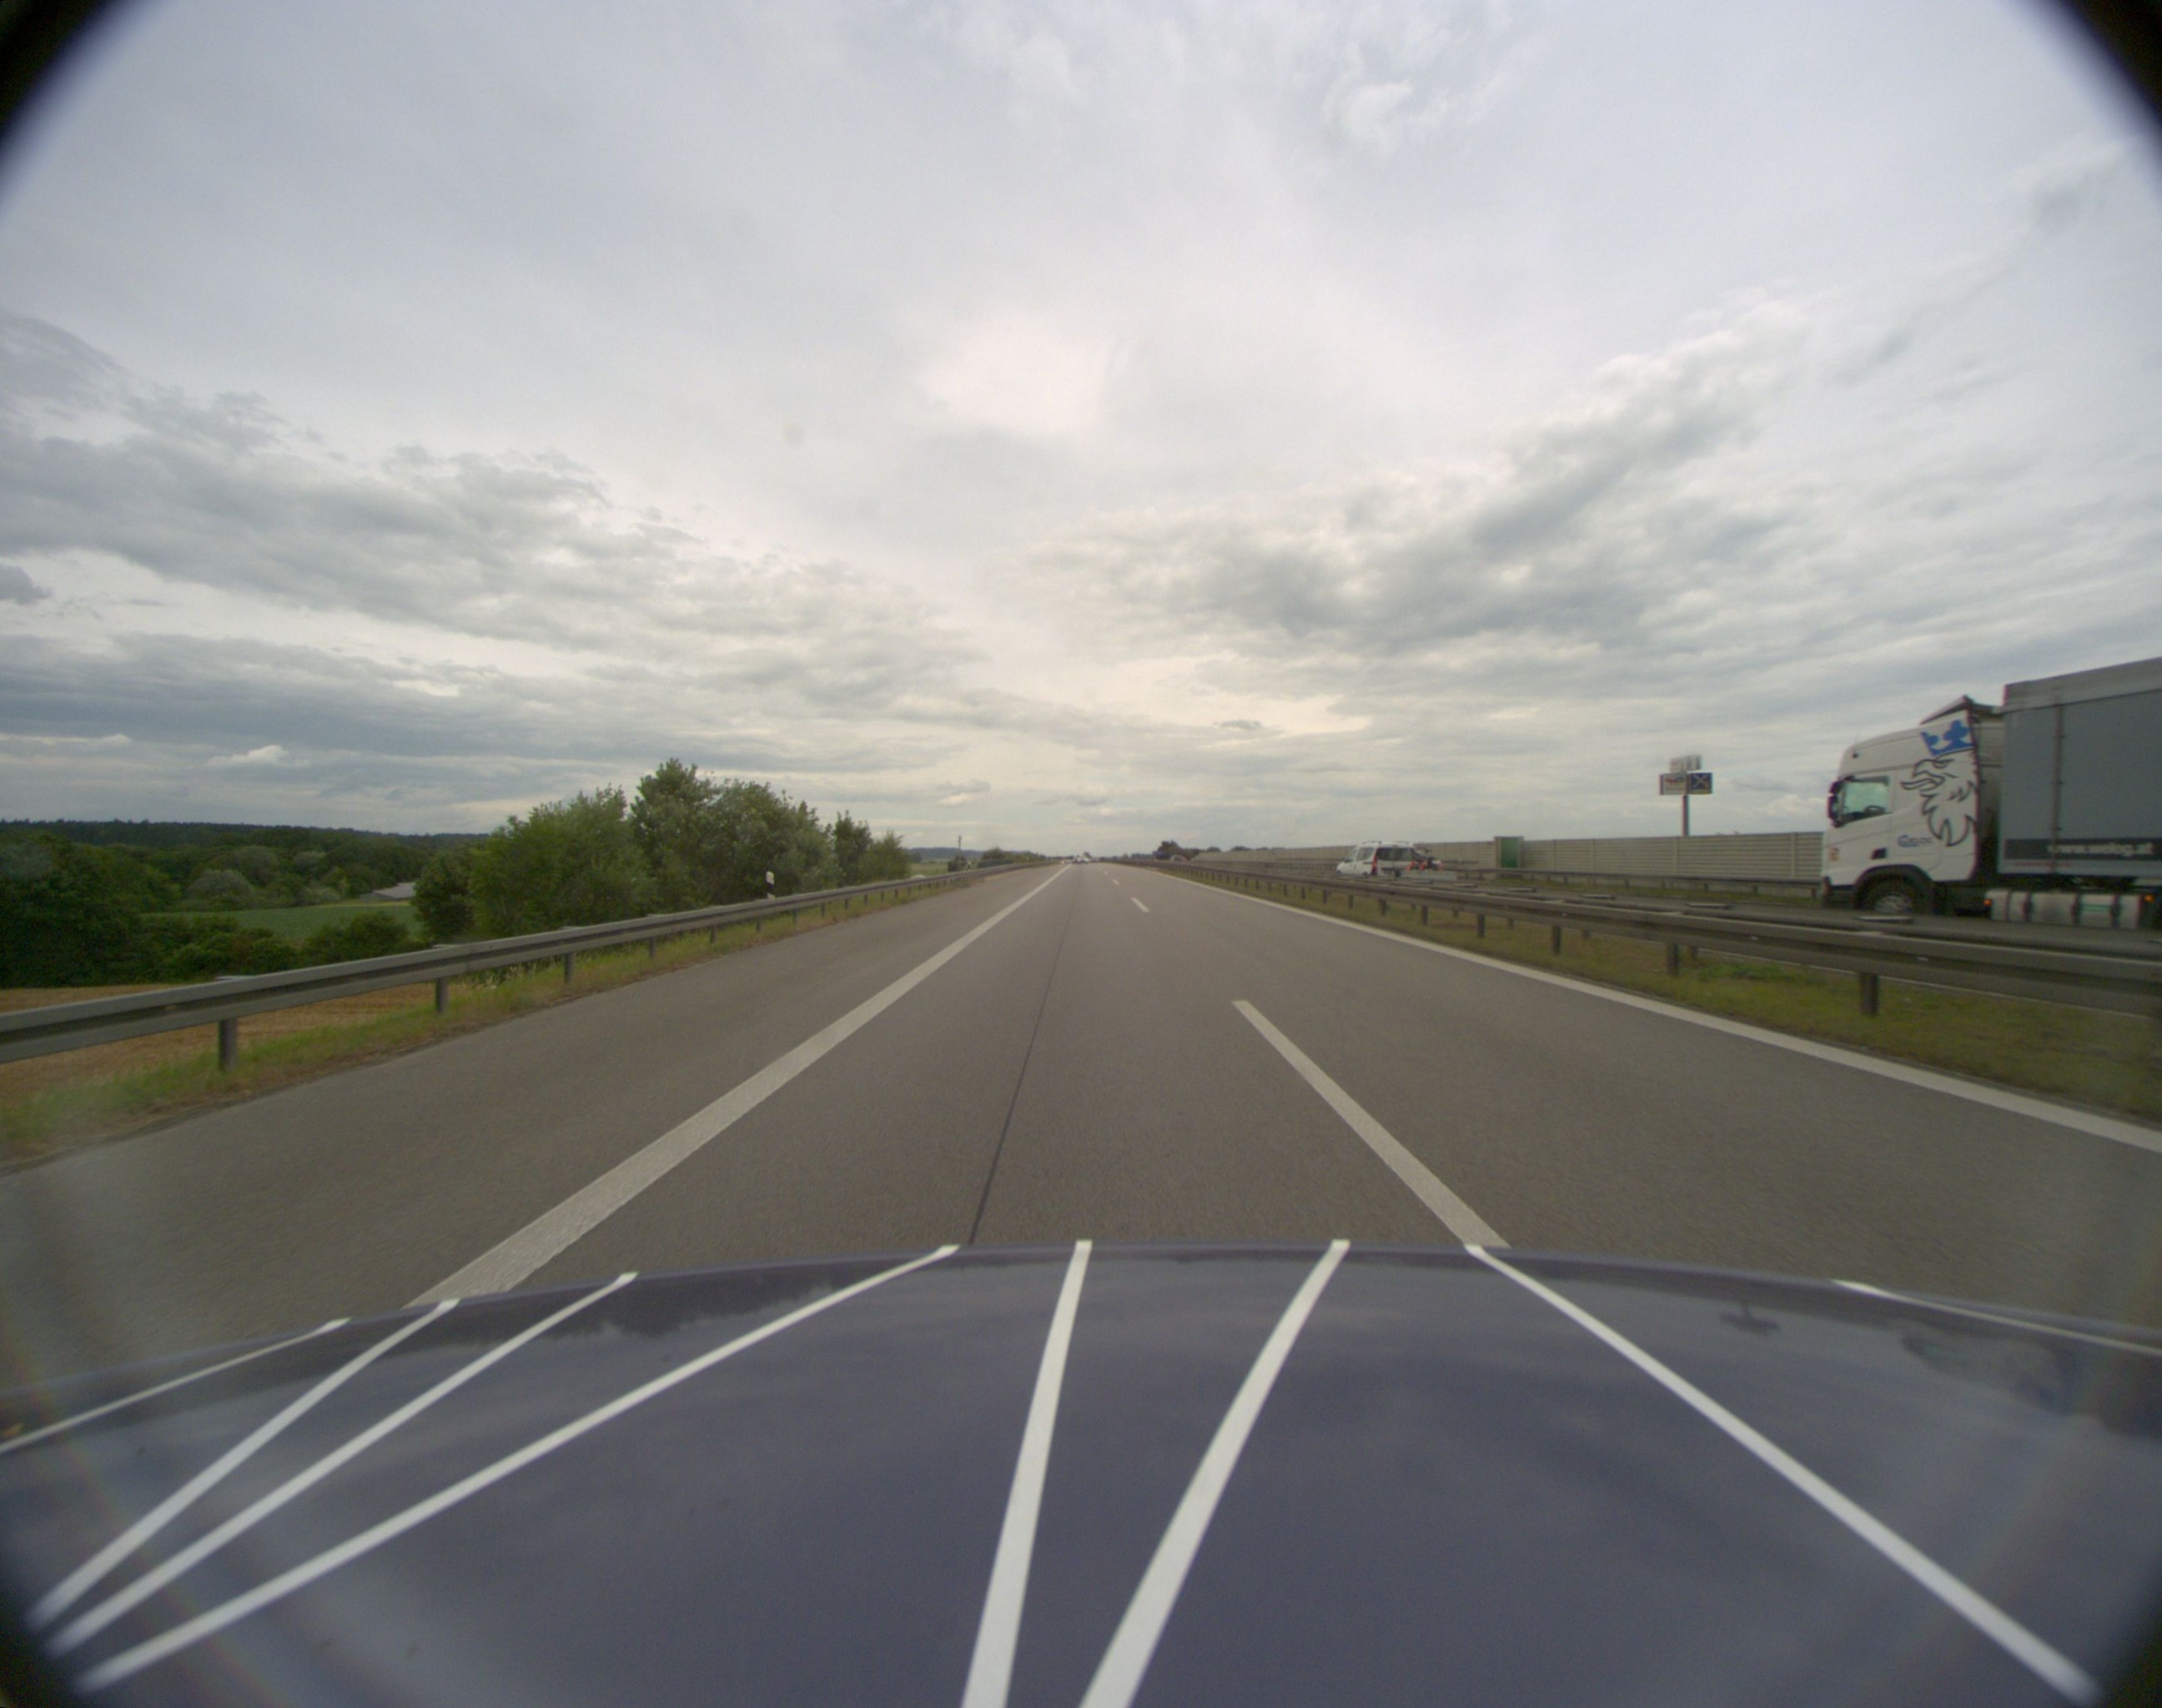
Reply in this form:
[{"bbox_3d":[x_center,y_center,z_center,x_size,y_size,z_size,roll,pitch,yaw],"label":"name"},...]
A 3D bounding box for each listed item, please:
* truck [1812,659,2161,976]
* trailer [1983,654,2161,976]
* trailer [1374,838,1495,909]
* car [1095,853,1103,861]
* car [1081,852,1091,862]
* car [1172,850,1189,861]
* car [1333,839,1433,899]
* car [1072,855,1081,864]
[{"bbox_3d":[15.182,-0.450,10.474,3.117,3.991,7.323,1,1,1],"label":"truck"},{"bbox_3d":[15.155,-0.437,4.413,3.187,4.052,14.022,1,0,1],"label":"trailer"},{"bbox_3d":[10.739,0.522,23.395,1.819,1.836,3.862,-6,1,1],"label":"trailer"},{"bbox_3d":[4.177,0.730,175.105,1.850,1.664,4.200,0,-1,0],"label":"car"},{"bbox_3d":[0.934,0.540,139.998,1.850,1.664,4.200,0,-1,0],"label":"car"},{"bbox_3d":[14.296,0.174,109.252,1.800,1.366,4.683,4,0,0],"label":"car"},{"bbox_3d":[10.787,0.483,27.454,1.819,1.836,4.180,-6,1,1],"label":"car"},{"bbox_3d":[-1.070,1.160,165.801,1.851,1.850,3.999,0,-1,-3],"label":"car"}]
